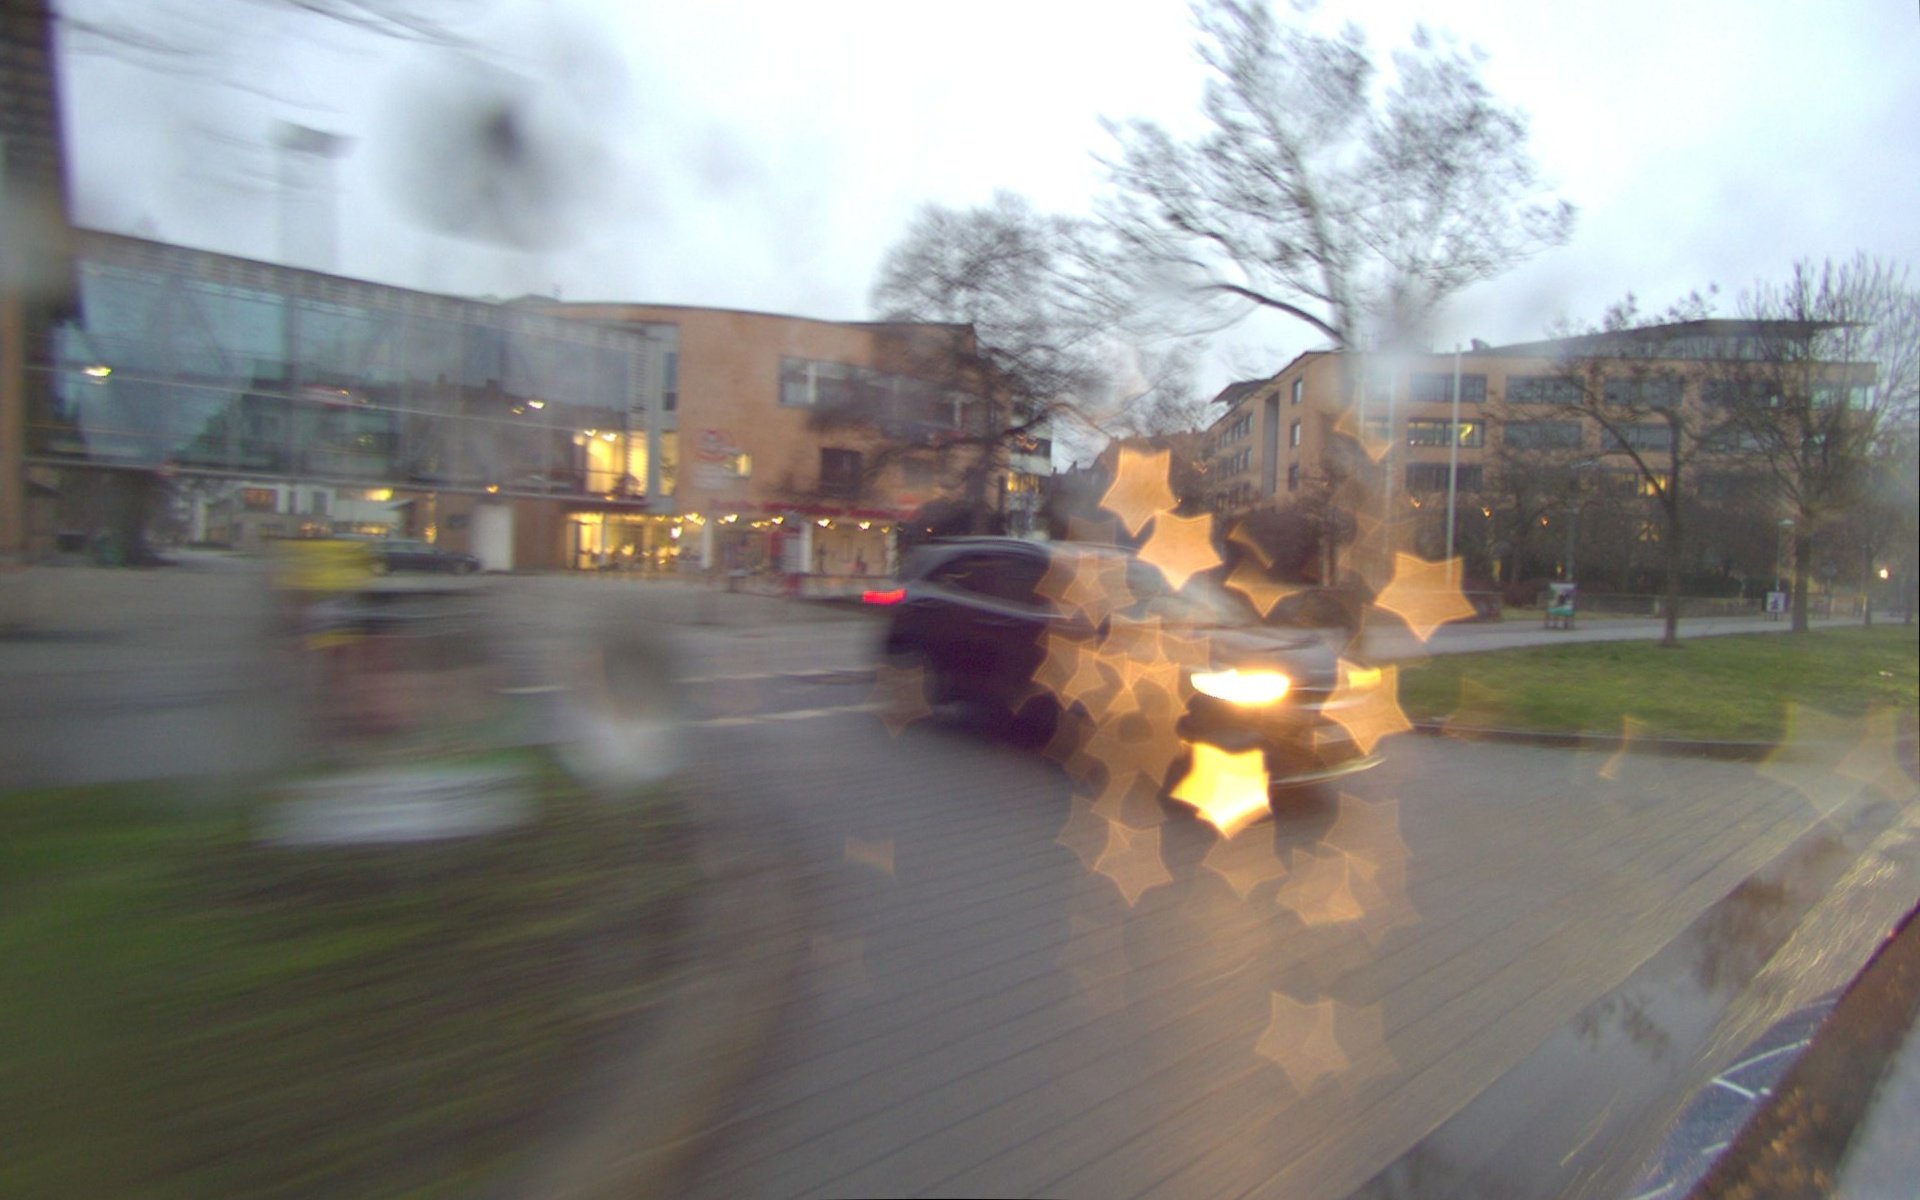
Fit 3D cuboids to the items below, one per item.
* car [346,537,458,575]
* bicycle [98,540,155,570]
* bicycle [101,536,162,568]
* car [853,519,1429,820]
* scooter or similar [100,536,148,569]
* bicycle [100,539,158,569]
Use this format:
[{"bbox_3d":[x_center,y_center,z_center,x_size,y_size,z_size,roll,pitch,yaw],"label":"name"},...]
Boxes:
[{"bbox_3d":[-22.913,-1.812,41.551,3.921,1.415,2.002,1,3,-32],"label":"car"},{"bbox_3d":[-32.192,-1.725,39.101,1.674,1.088,0.492,-1,1,-42],"label":"bicycle"},{"bbox_3d":[-29.651,-1.698,36.236,1.674,1.088,0.492,-1,1,-42],"label":"bicycle"},{"bbox_3d":[1.038,0.247,7.461,1.711,1.574,3.998,0,4,-39],"label":"car"},{"bbox_3d":[-27.768,-1.566,33.628,0.392,1.088,1.199,0,0,43],"label":"scooter or similar"},{"bbox_3d":[-31.249,-1.715,38.057,1.674,1.088,0.492,-1,1,-42],"label":"bicycle"}]
